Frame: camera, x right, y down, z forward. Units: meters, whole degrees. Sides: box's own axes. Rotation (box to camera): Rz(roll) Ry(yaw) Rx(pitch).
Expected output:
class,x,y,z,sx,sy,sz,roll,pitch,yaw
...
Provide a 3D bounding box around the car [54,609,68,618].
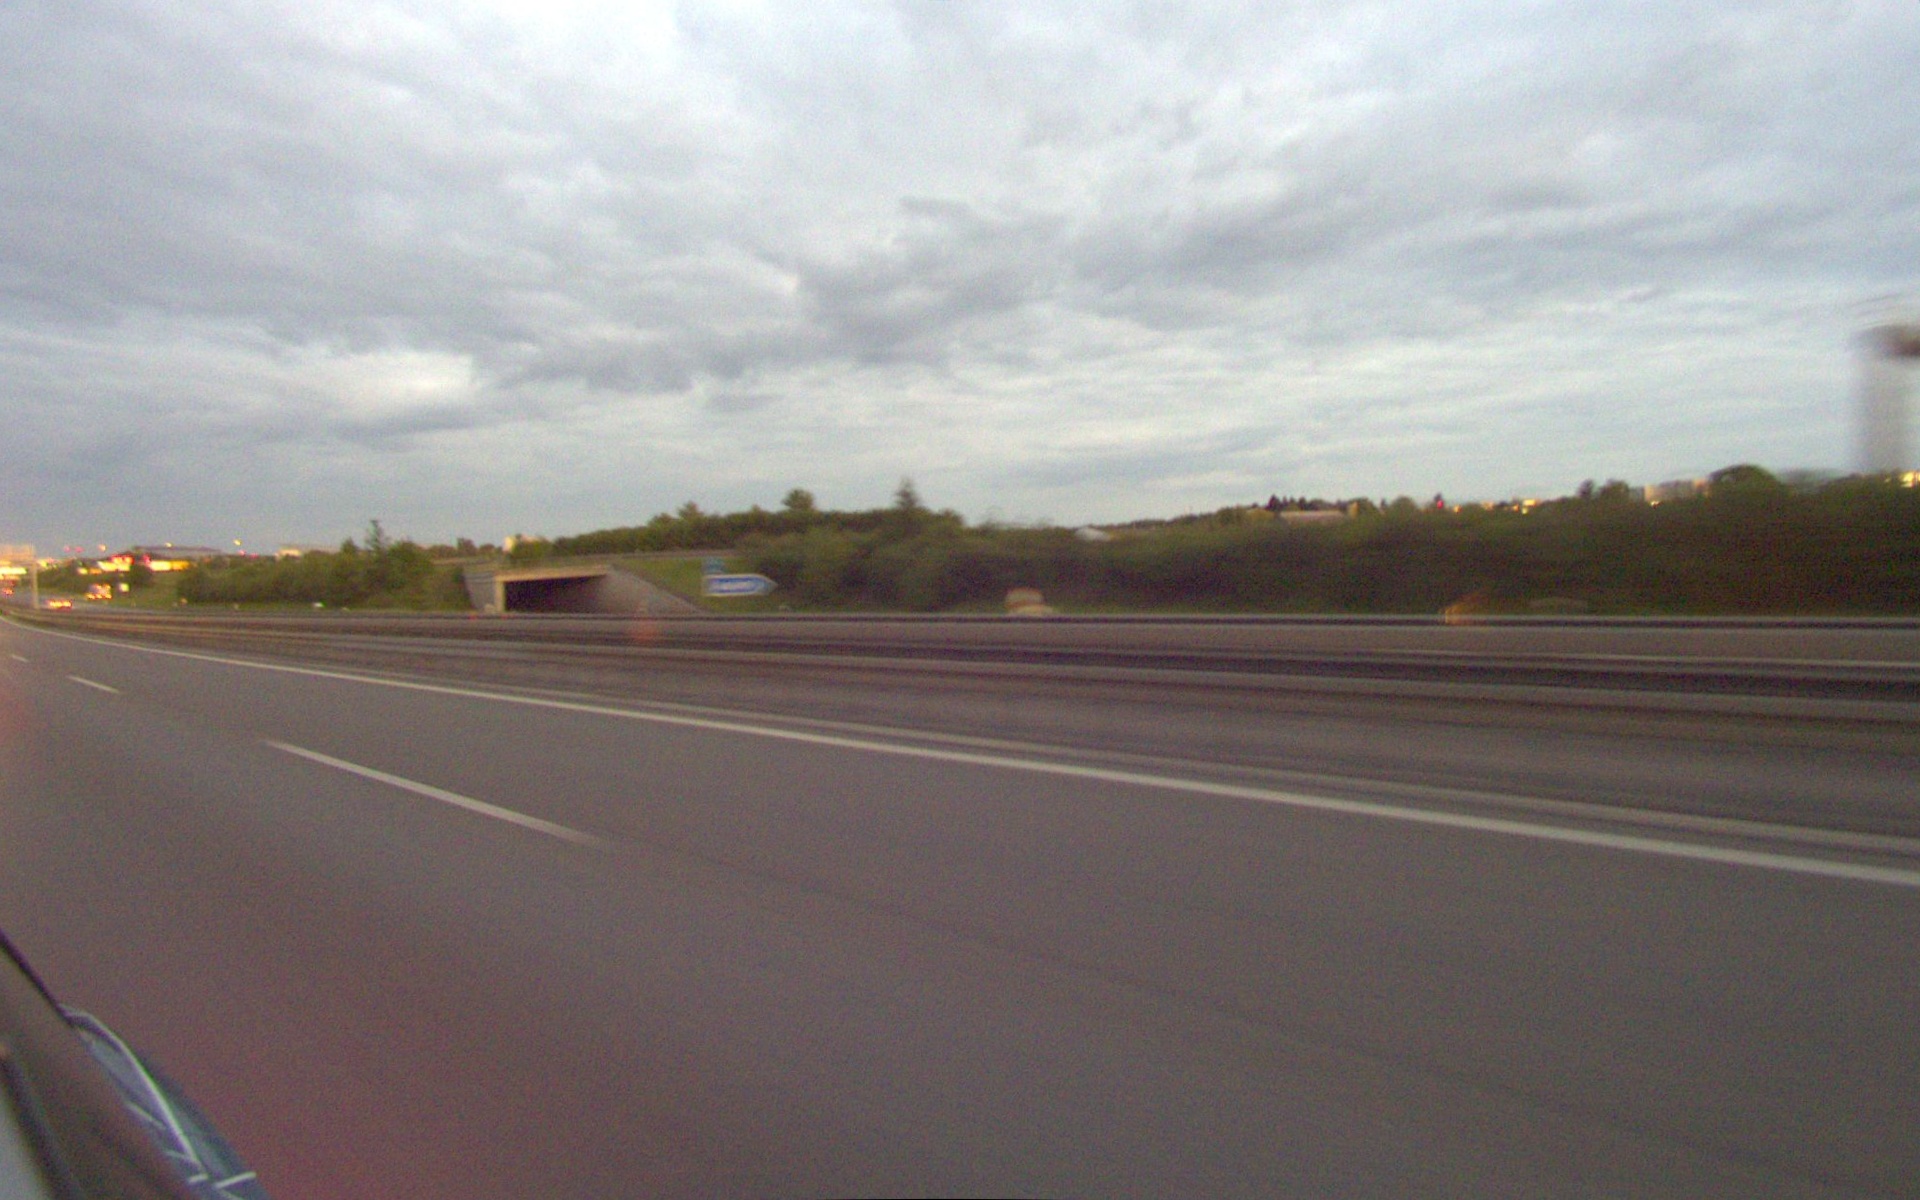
class,x,y,z,sx,sy,sz,roll,pitch,yaw
car,-172.351,2.548,194.049,1.670,1.411,4.432,-6,5,-45
